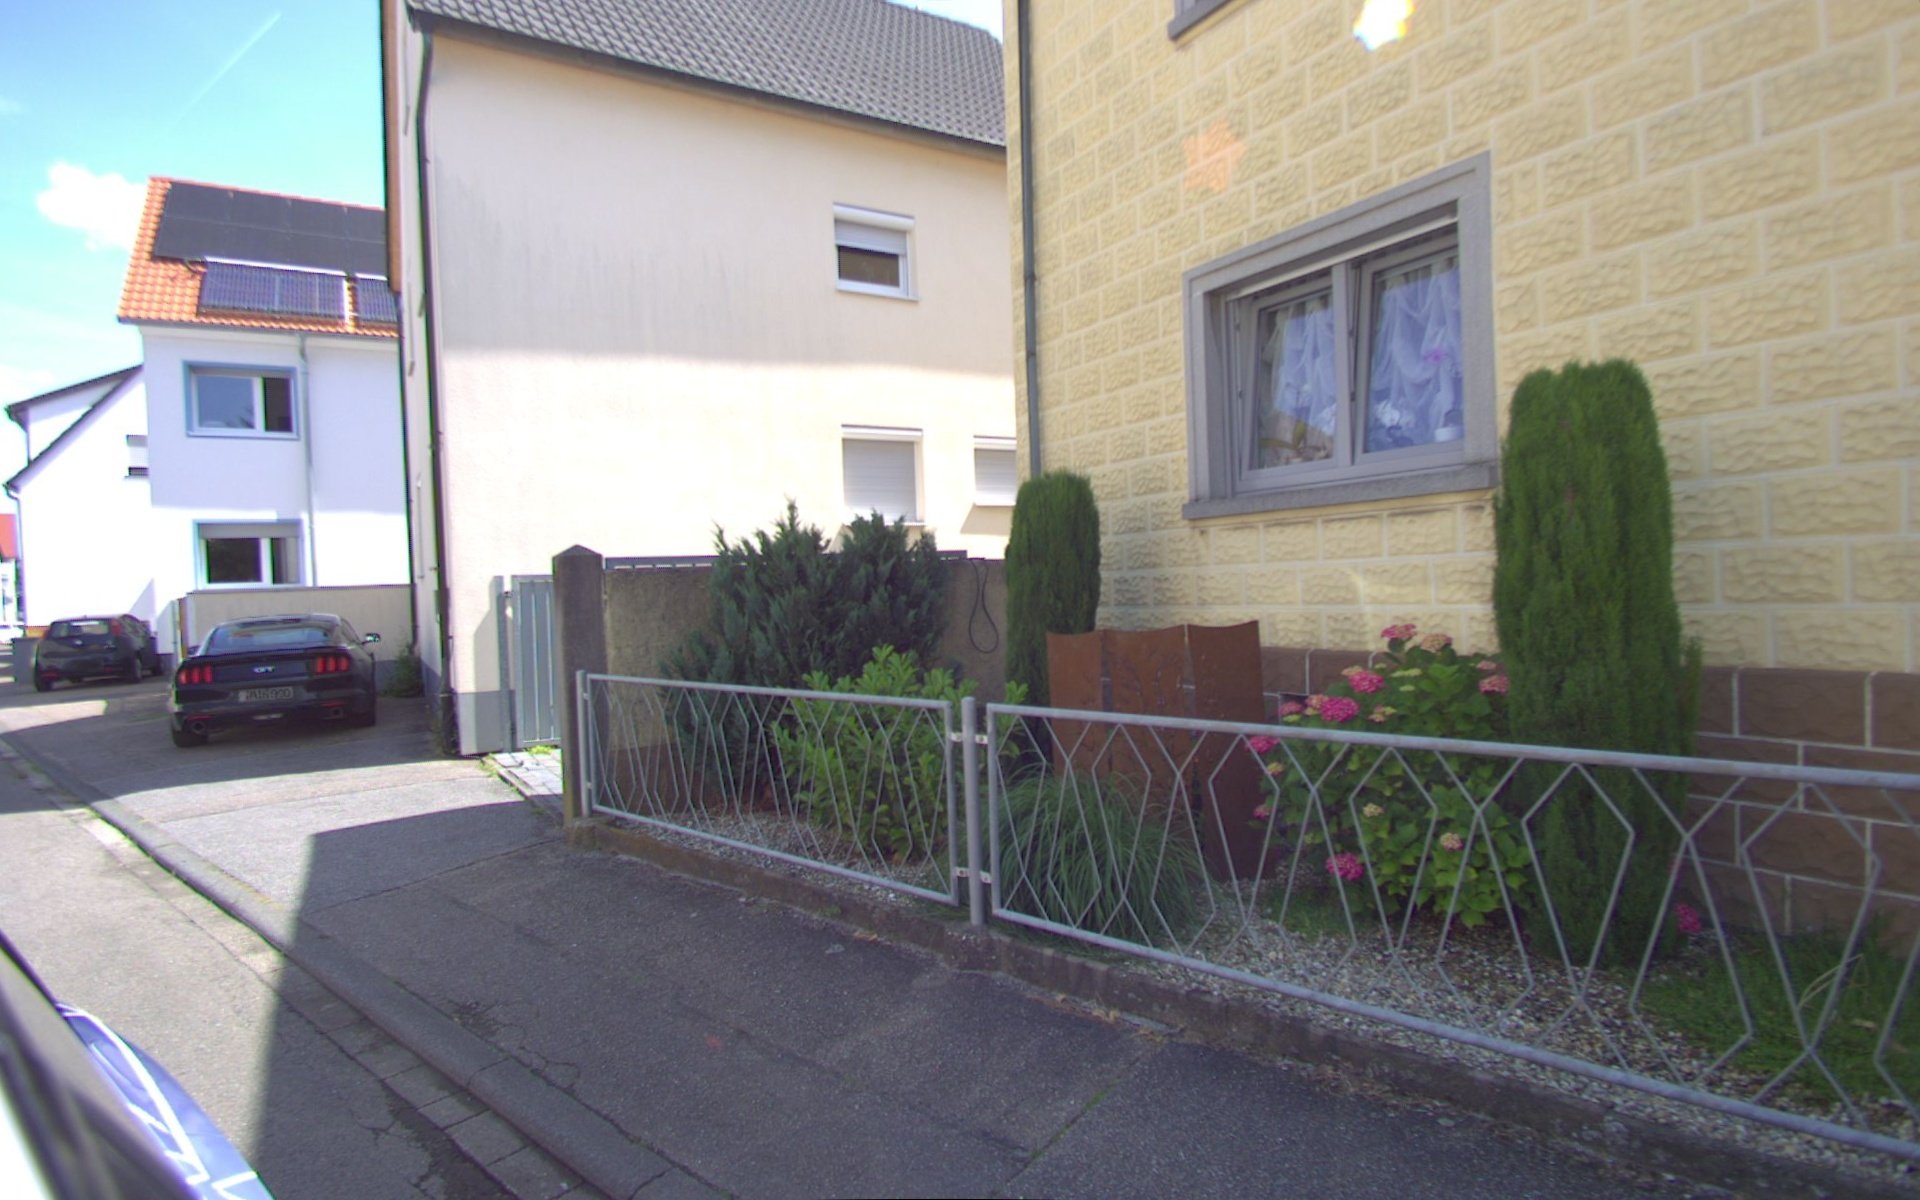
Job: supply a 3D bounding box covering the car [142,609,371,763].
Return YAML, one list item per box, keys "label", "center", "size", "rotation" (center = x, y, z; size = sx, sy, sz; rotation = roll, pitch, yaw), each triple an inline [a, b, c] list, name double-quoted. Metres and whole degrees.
- label: "car"
  center: [-8.321, 0.870, 12.362]
  size: [1.745, 1.359, 4.484]
  rotation: [-4, 2, -29]

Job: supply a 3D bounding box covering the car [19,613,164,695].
- label: "car"
  center: [-18.408, 1.086, 21.618]
  size: [1.615, 1.466, 3.798]
  rotation: [-4, 1, -31]

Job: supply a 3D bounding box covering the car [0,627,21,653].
- label: "car"
  center: [-60.628, 2.540, 63.655]
  size: [1.757, 1.511, 4.048]
  rotation: [-6, 3, -37]

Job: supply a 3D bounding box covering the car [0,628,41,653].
- label: "car"
  center: [-68.338, 2.926, 73.624]
  size: [1.757, 1.511, 4.048]
  rotation: [-6, 3, -37]
